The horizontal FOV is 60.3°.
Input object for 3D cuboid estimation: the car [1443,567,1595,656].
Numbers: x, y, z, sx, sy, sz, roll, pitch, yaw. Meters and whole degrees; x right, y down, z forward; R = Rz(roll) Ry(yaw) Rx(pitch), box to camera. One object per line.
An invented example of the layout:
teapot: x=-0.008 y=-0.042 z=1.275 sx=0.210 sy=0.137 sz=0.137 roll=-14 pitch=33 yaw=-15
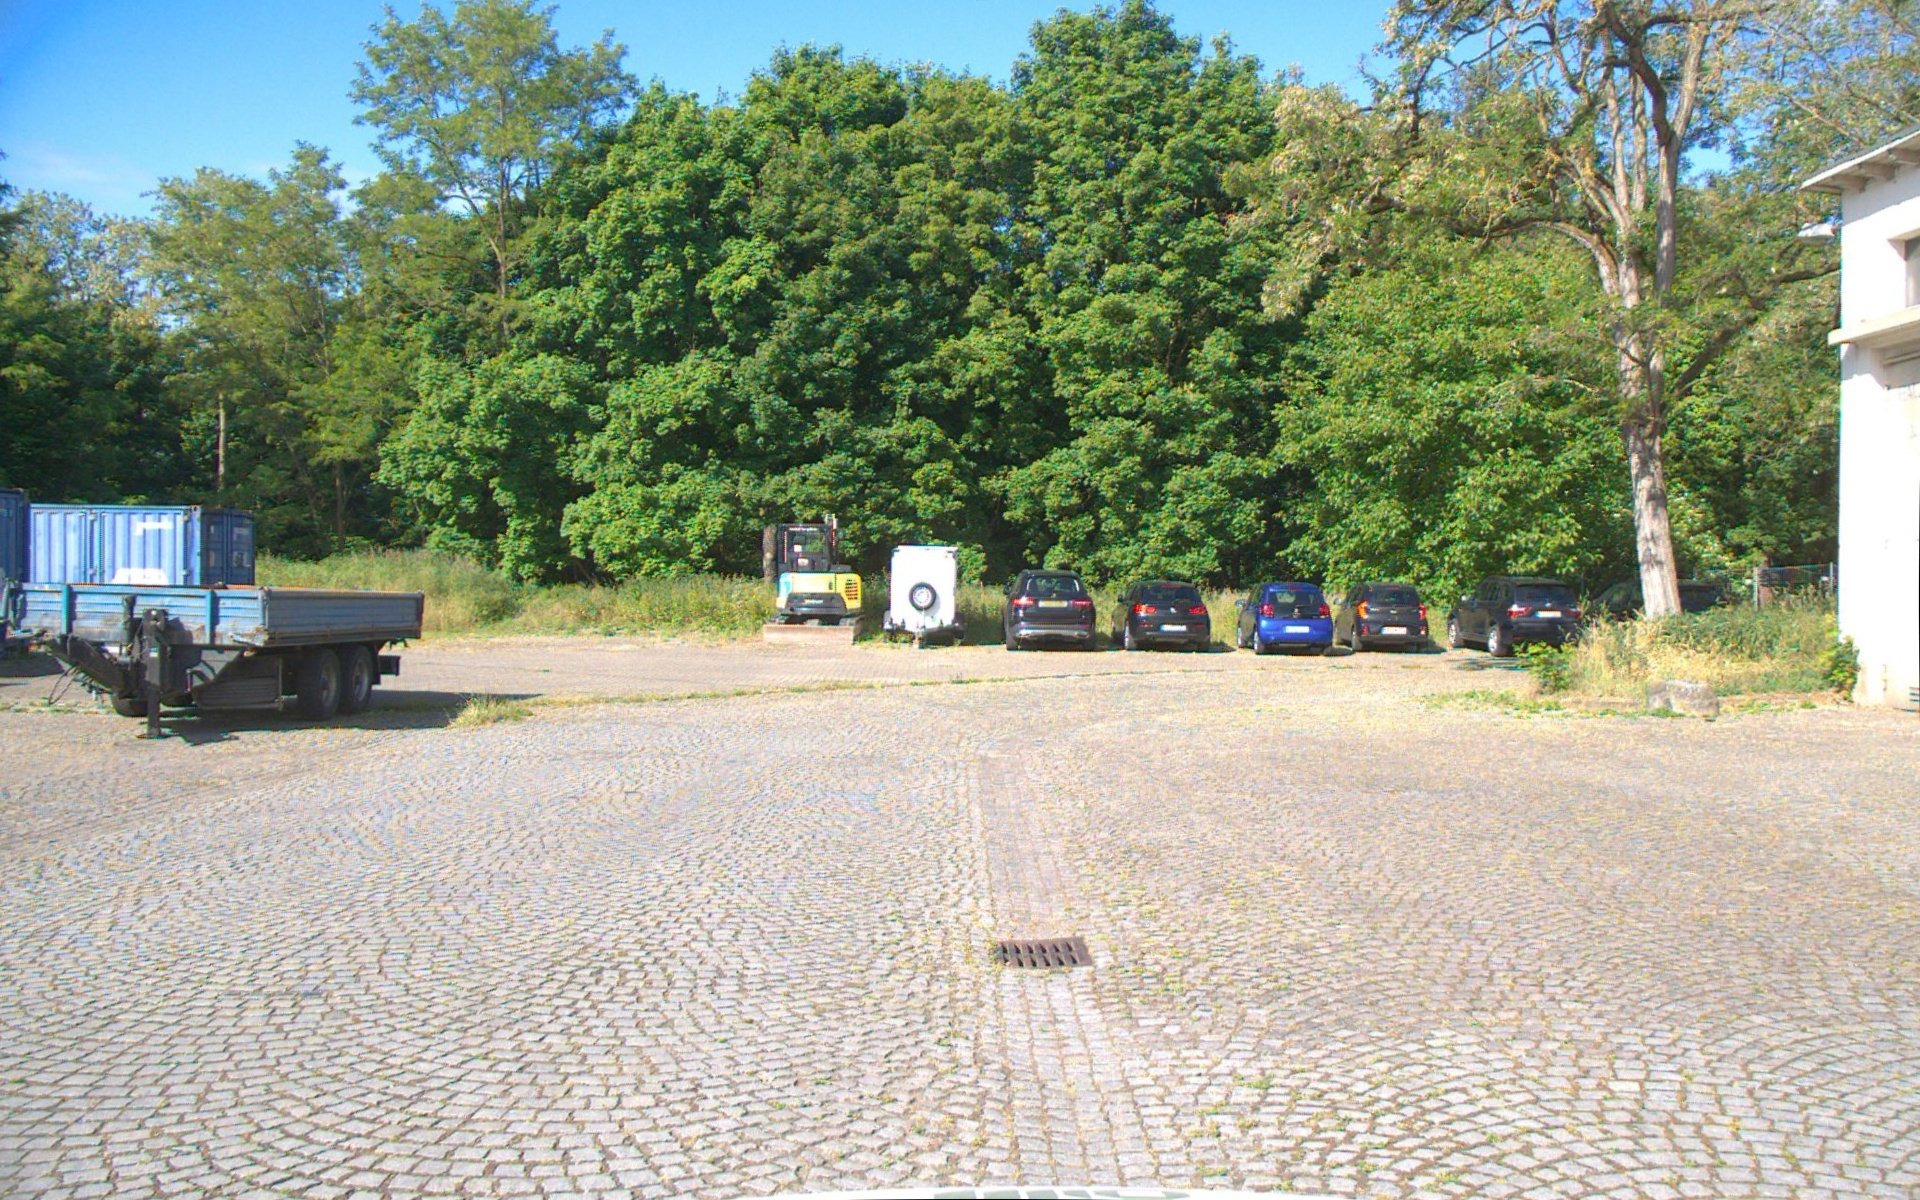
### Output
car: x=12.213 y=0.200 z=36.427 sx=1.836 sy=1.659 sz=4.274 roll=1 pitch=3 yaw=-1

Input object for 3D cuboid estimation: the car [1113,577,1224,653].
car: x=4.358 y=0.267 z=35.053 sx=1.850 sy=1.436 sz=3.790 roll=1 pitch=2 yaw=0

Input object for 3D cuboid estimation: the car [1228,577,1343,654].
car: x=6.934 y=0.291 z=35.567 sx=1.743 sy=1.484 sz=3.791 roll=1 pitch=2 yaw=1

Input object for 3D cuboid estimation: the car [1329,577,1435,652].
car: x=9.325 y=0.279 z=36.786 sx=1.702 sy=1.476 sz=3.728 roll=1 pitch=2 yaw=5
